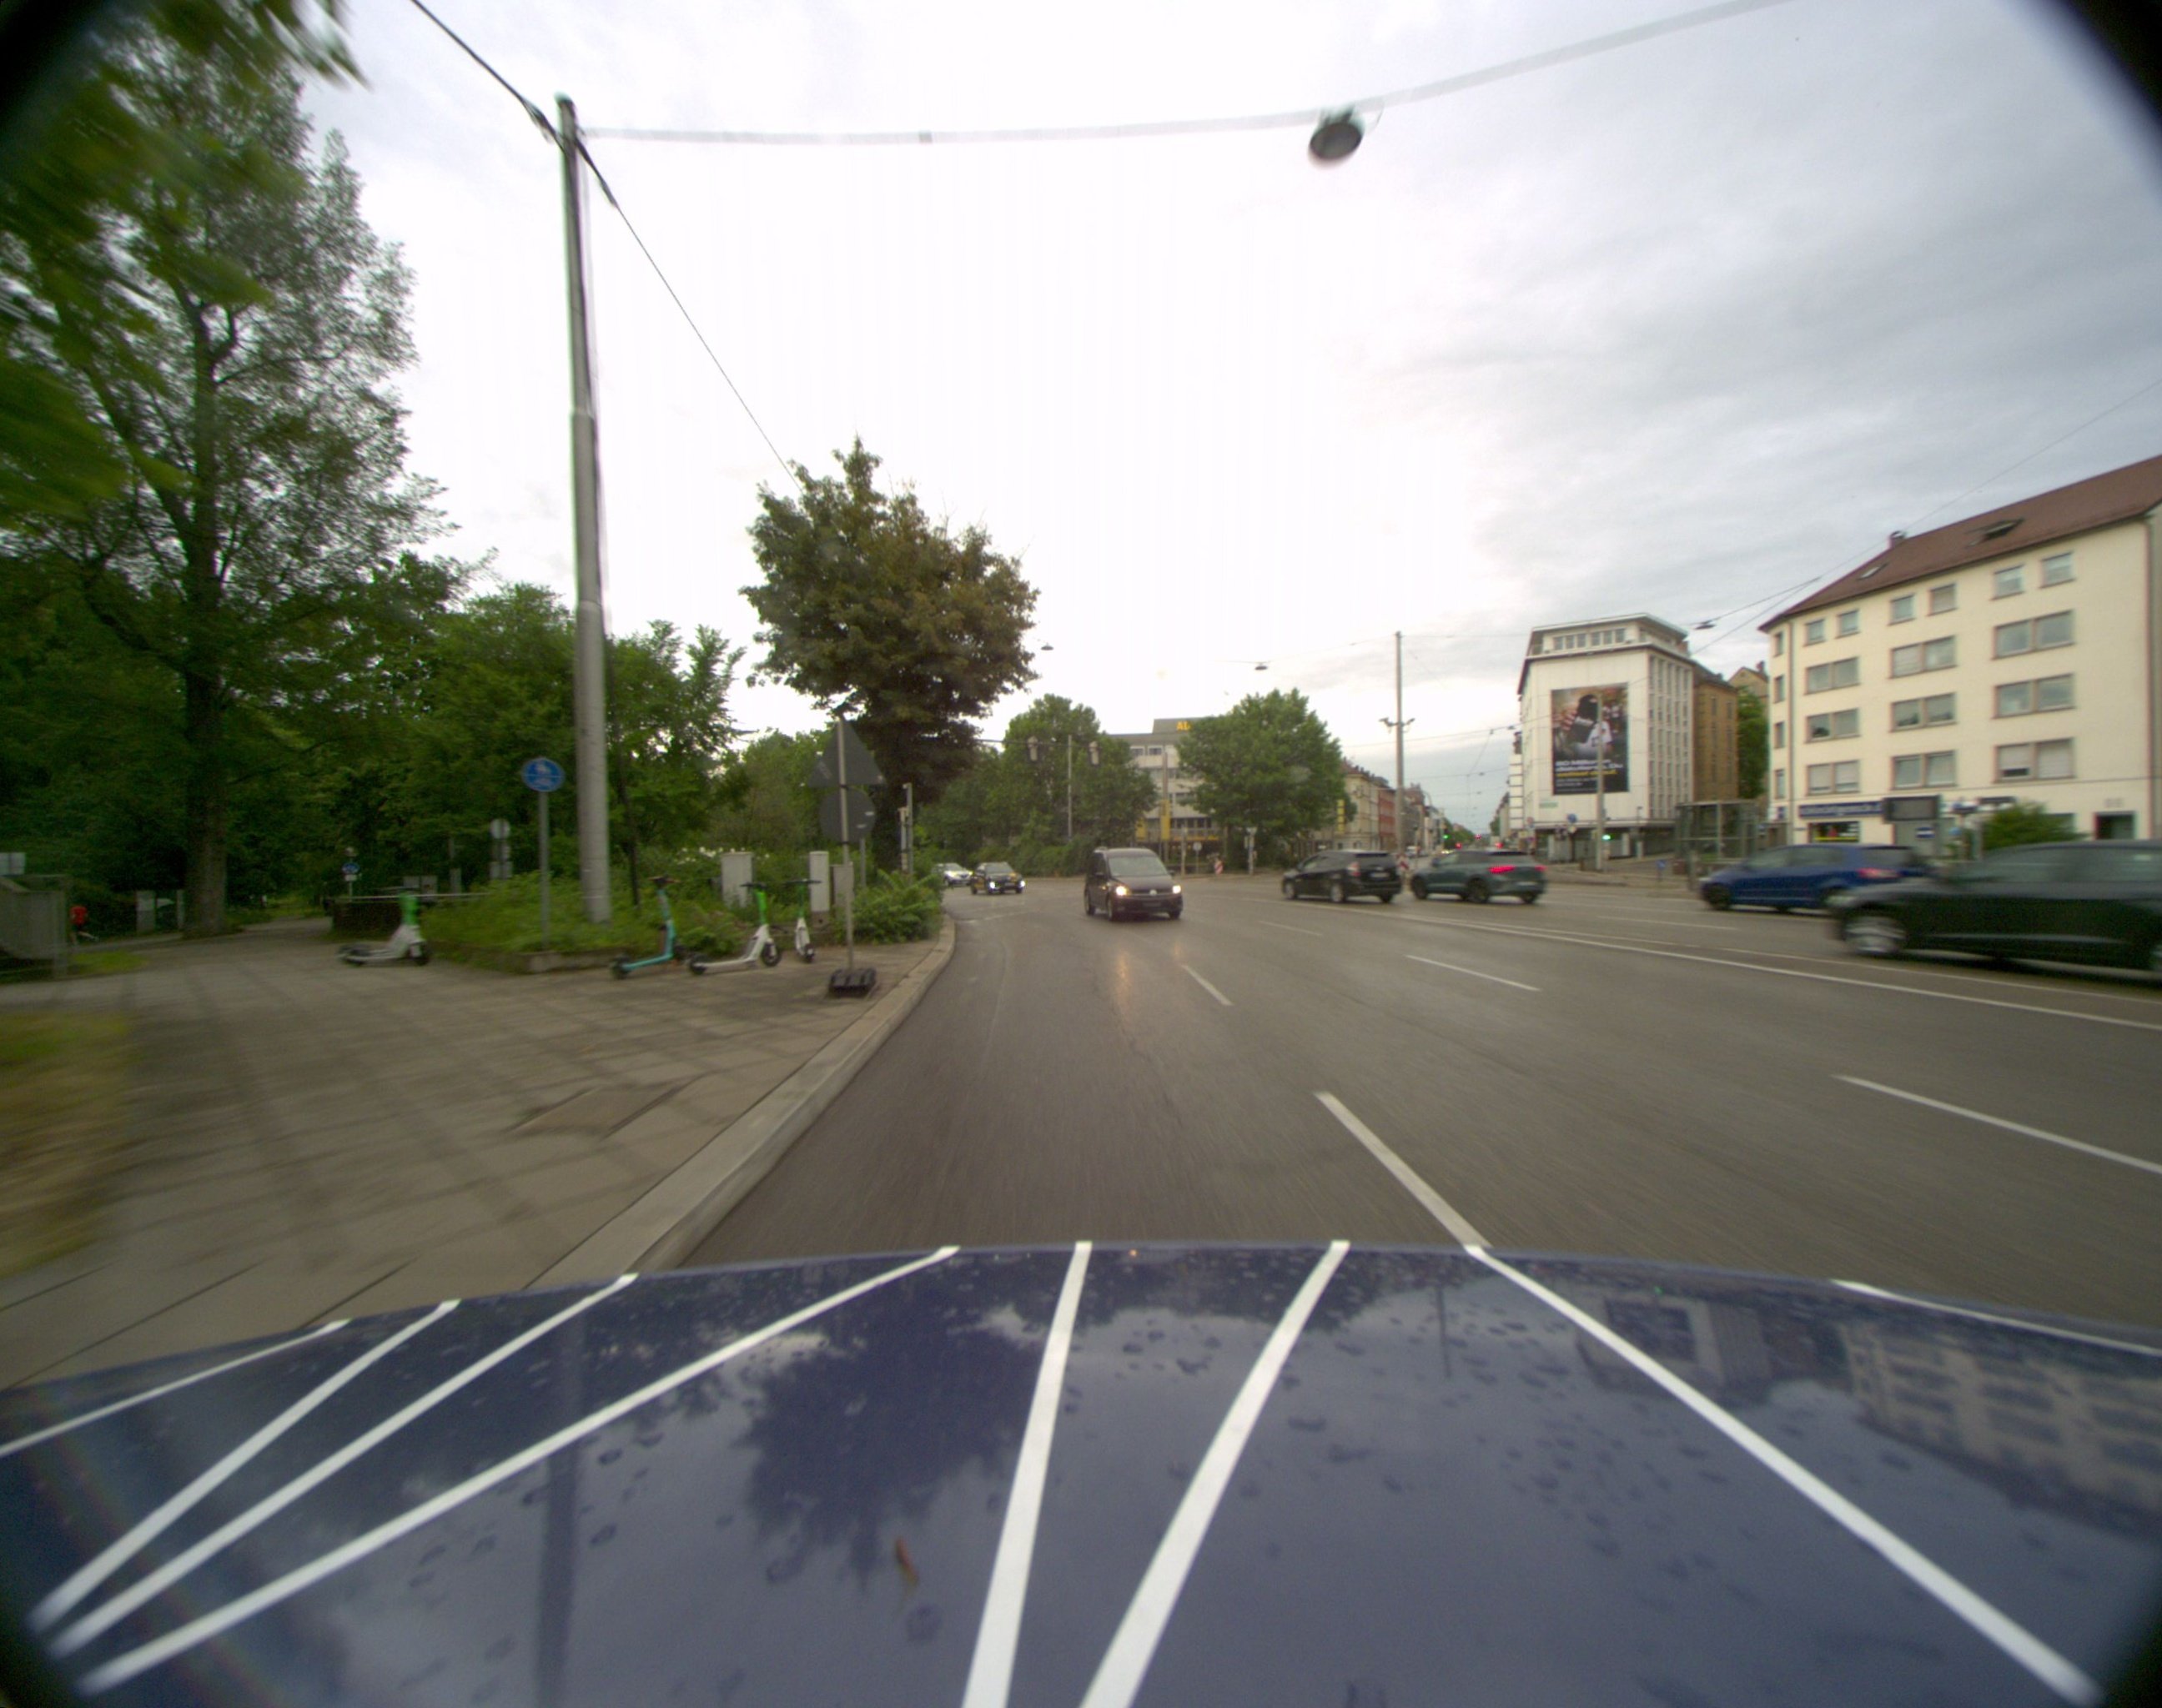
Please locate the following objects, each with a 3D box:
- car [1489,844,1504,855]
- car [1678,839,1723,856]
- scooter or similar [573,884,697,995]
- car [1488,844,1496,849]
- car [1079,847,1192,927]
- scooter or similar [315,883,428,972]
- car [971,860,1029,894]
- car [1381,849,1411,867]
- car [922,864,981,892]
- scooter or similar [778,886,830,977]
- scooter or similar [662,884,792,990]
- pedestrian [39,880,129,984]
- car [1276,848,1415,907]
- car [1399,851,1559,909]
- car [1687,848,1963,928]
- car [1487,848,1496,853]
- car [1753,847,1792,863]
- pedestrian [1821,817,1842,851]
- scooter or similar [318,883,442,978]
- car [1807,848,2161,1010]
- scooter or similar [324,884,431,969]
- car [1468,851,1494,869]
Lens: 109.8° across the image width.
[{"bbox_3d":[59.738,-0.656,109.228,1.871,1.568,4.007,0,1,30],"label":"car"},{"bbox_3d":[57.173,-0.592,70.083,4.006,1.581,1.914,-1,1,-30],"label":"car"},{"bbox_3d":[-5.437,1.001,9.346,0.563,1.194,1.326,0,1,11],"label":"scooter or similar"},{"bbox_3d":[115.886,-2.170,214.131,1.776,1.313,3.685,0,1,31],"label":"car"},{"bbox_3d":[1.273,0.763,19.665,1.797,1.789,4.121,-2,0,-12],"label":"car"},{"bbox_3d":[-10.714,1.098,11.487,1.240,1.305,0.472,0,1,1],"label":"scooter or similar"},{"bbox_3d":[-4.173,1.108,38.698,1.933,1.532,3.993,-2,1,-21],"label":"car"},{"bbox_3d":[26.658,0.278,64.242,1.995,1.442,4.236,0,1,27],"label":"car"},{"bbox_3d":[-9.034,1.602,52.710,2.004,1.735,4.642,-1,1,-38],"label":"car"},{"bbox_3d":[-3.988,1.059,10.890,0.637,1.122,1.590,-1,1,-22],"label":"scooter or similar"},{"bbox_3d":[-4.567,1.028,9.856,0.687,1.194,1.341,0,1,42],"label":"scooter or similar"},{"bbox_3d":[-13.609,1.047,10.385,0.480,1.365,0.538,0,1,3],"label":"pedestrian"},{"bbox_3d":[7.936,0.646,23.317,1.860,1.613,4.587,-1,0,-13],"label":"car"},{"bbox_3d":[11.411,0.678,22.146,1.824,1.503,4.227,-1,1,-13],"label":"car"},{"bbox_3d":[15.812,0.626,16.520,1.767,1.503,4.119,0,1,-5],"label":"car"},{"bbox_3d":[100.641,-0.834,186.255,1.776,1.313,3.685,0,1,31],"label":"car"},{"bbox_3d":[54.300,0.055,59.657,3.169,1.222,1.401,-1,1,-30],"label":"car"},{"bbox_3d":[44.237,-1.185,44.801,0.567,2.002,0.676,-1,1,-11],"label":"pedestrian"},{"bbox_3d":[-10.061,1.083,10.932,1.240,1.305,0.554,0,1,1],"label":"scooter or similar"},{"bbox_3d":[10.332,0.654,7.776,1.771,1.408,4.081,0,1,-3],"label":"car"},{"bbox_3d":[-11.119,1.136,12.032,1.240,1.305,0.472,0,1,1],"label":"scooter or similar"},{"bbox_3d":[43.625,0.640,82.932,1.995,1.832,4.446,0,1,20],"label":"car"}]
